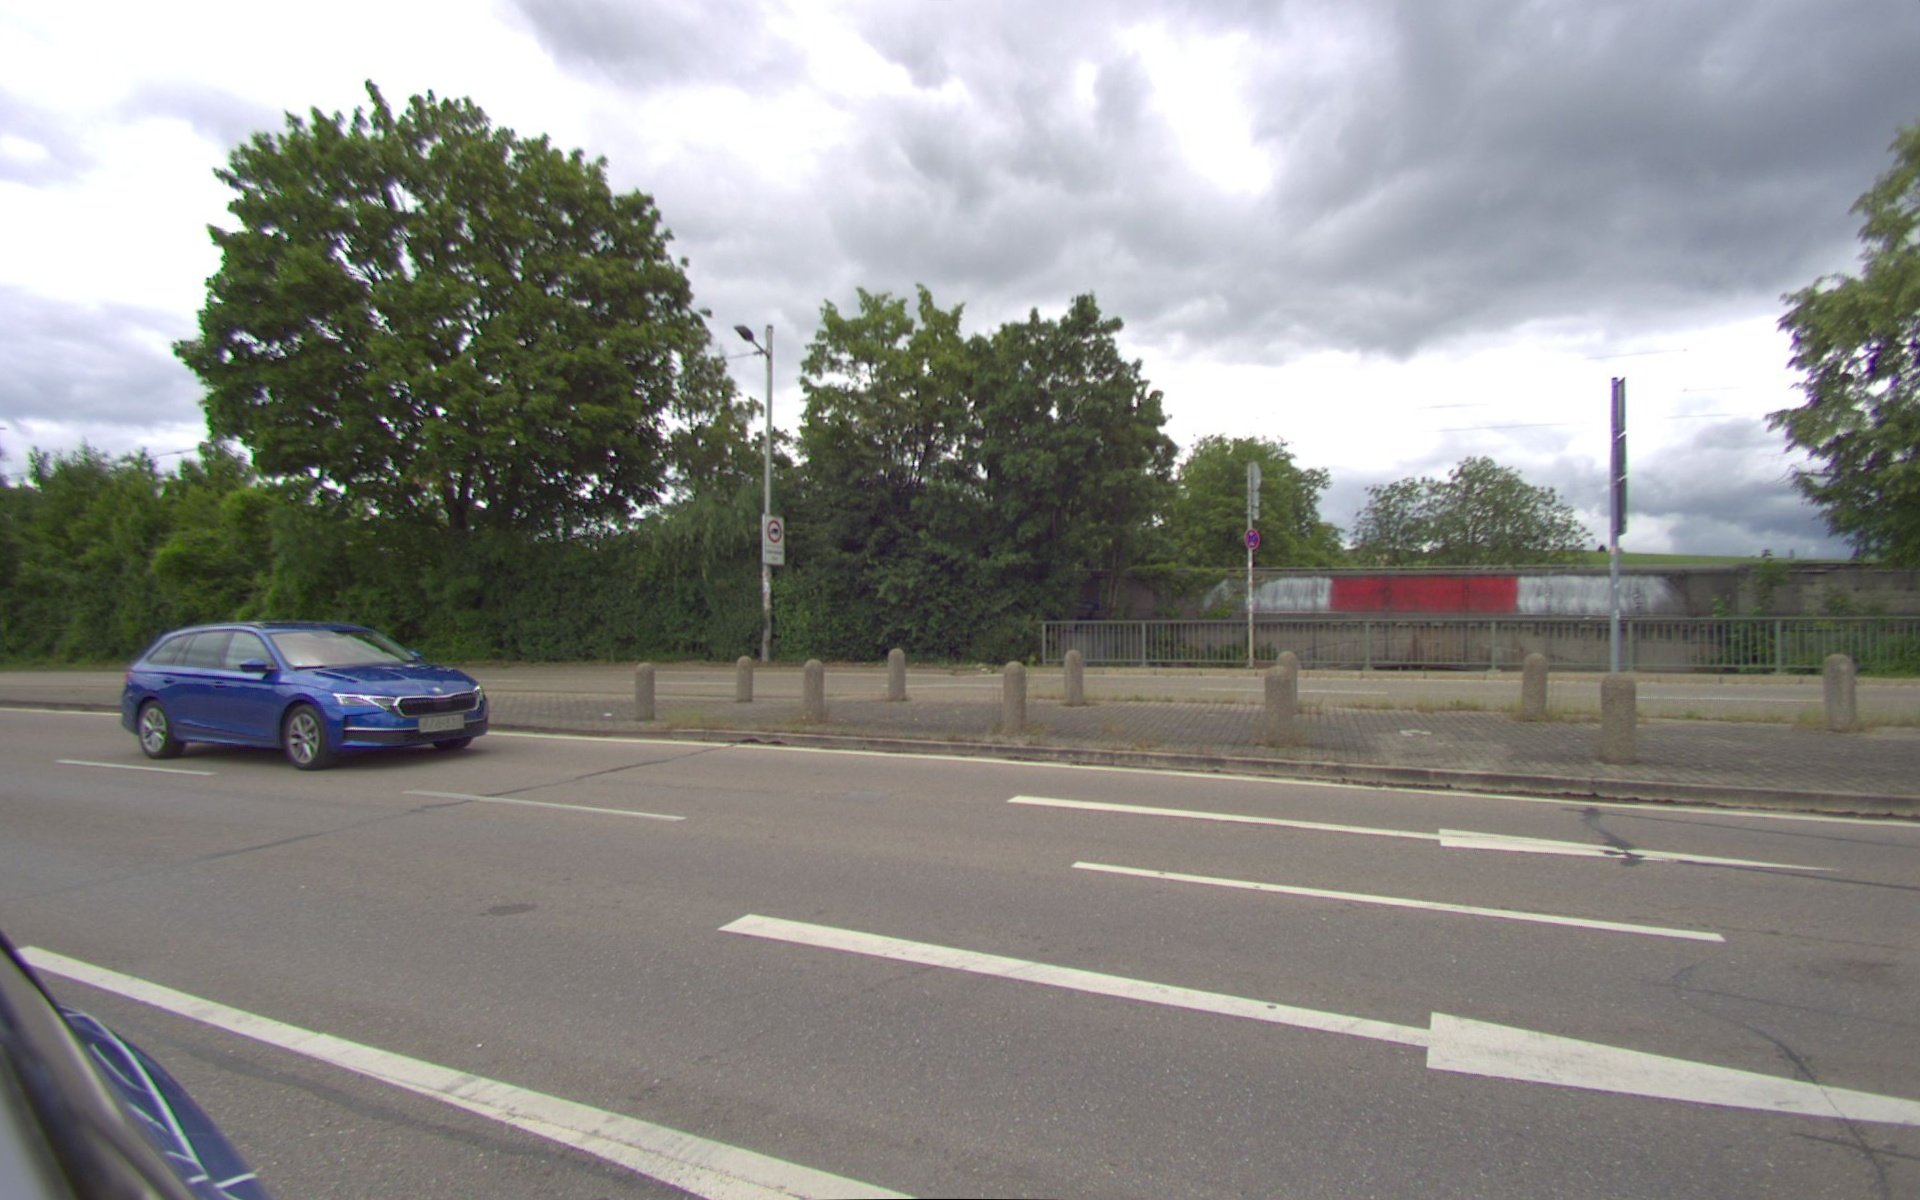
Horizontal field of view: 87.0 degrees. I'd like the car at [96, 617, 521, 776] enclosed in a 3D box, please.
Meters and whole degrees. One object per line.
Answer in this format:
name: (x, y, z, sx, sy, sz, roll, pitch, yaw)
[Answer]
car: (-7.175, 0.958, 11.085, 4.555, 1.427, 1.828, -2, -1, 26)
